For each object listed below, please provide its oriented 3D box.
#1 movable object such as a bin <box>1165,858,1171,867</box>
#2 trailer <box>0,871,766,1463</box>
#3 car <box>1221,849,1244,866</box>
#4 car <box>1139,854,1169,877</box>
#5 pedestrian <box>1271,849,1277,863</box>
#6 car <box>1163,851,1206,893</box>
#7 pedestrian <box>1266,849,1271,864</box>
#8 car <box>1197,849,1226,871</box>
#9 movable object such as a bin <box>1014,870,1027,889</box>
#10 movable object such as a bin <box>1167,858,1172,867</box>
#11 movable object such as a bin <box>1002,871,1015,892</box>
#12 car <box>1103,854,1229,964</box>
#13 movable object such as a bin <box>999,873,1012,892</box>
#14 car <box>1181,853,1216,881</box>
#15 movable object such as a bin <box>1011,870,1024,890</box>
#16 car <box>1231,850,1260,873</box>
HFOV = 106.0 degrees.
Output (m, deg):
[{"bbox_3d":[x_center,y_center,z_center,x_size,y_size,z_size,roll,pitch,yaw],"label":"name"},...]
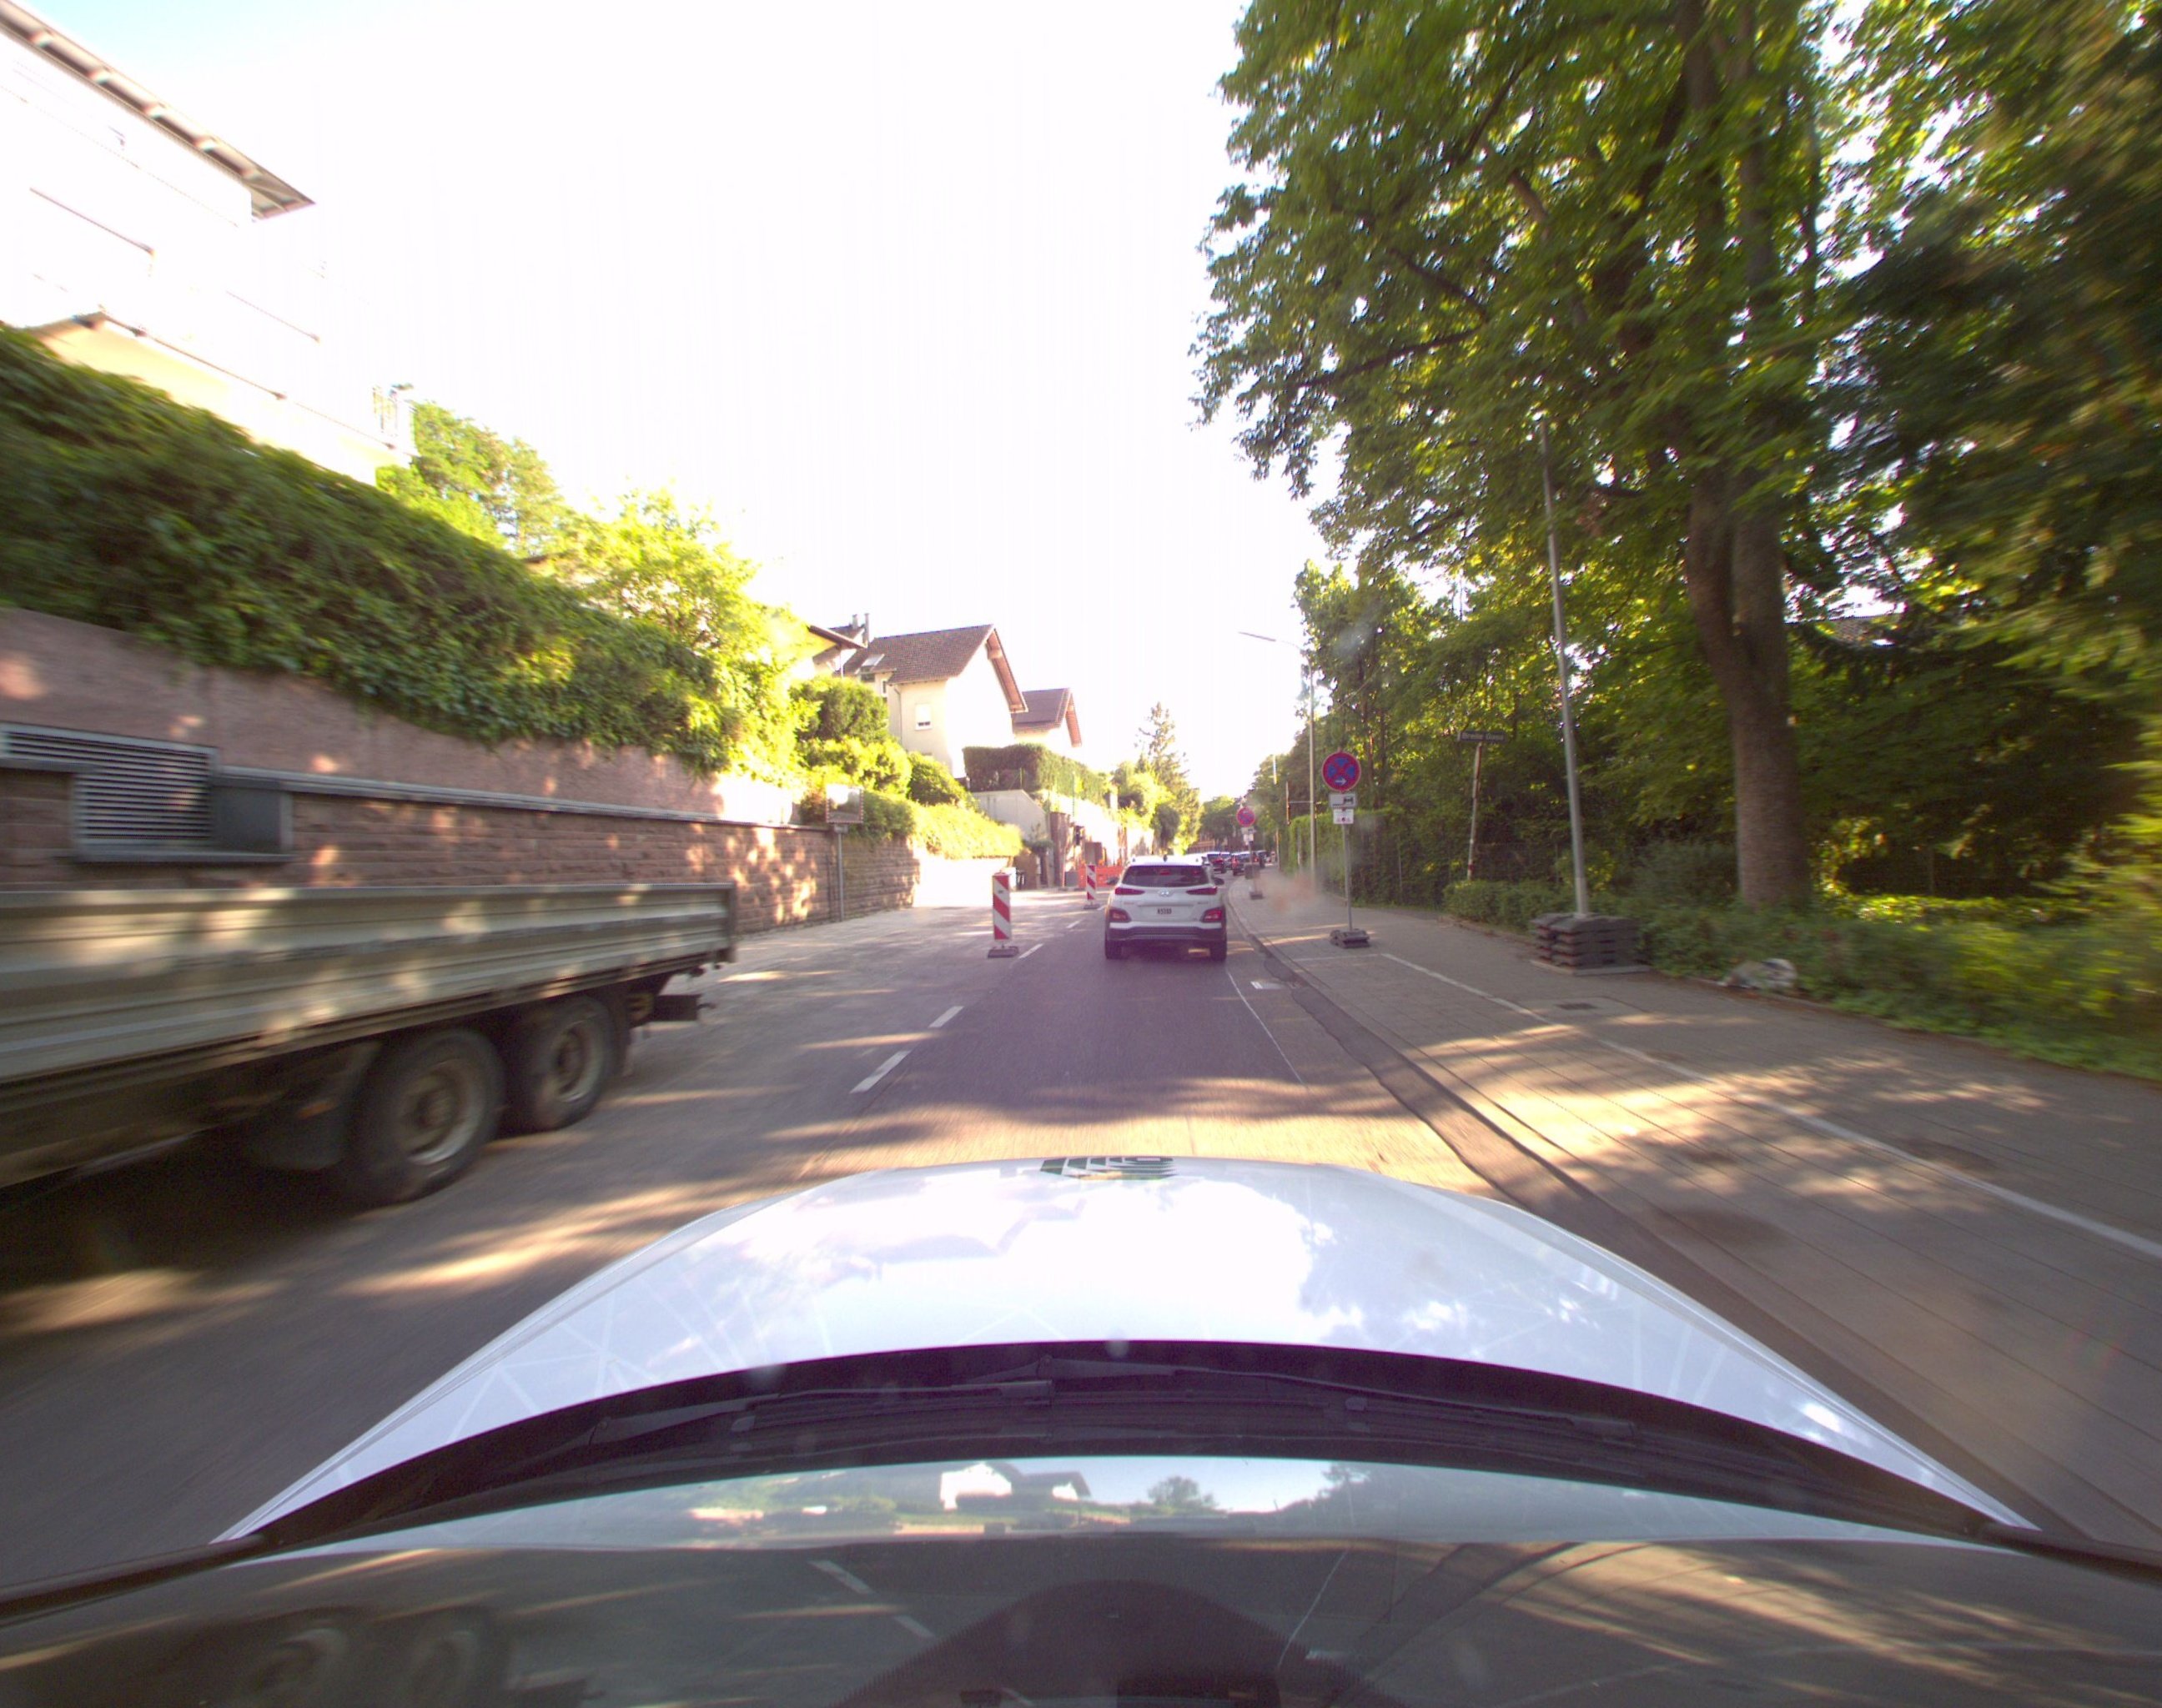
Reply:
[{"bbox_3d":[9.205,0.922,85.924,0.569,0.985,0.440,-1,-1,11],"label":"movable object such as a bin"},{"bbox_3d":[-4.147,0.901,3.420,2.630,1.489,7.122,-1,0,2],"label":"trailer"},{"bbox_3d":[13.996,0.343,75.230,1.681,1.447,3.897,-2,0,15],"label":"car"},{"bbox_3d":[5.021,0.778,55.804,1.616,1.422,3.574,-3,-1,11],"label":"car"},{"bbox_3d":[21.927,0.270,92.490,0.499,1.569,0.505,-5,-1,13],"label":"pedestrian"},{"bbox_3d":[4.251,0.689,33.107,1.503,1.533,3.557,-3,0,9],"label":"car"},{"bbox_3d":[21.382,0.301,92.819,0.499,1.606,0.493,-5,-1,13],"label":"pedestrian"},{"bbox_3d":[9.791,0.430,60.912,1.681,1.533,3.897,-2,0,14],"label":"car"},{"bbox_3d":[-2.821,1.187,37.730,0.453,0.884,0.502,-1,0,12],"label":"movable object such as a bin"},{"bbox_3d":[9.456,0.862,86.955,0.486,0.964,0.585,-1,0,11],"label":"movable object such as a bin"},{"bbox_3d":[-3.189,1.213,35.855,0.453,0.884,0.502,-1,0,12],"label":"movable object such as a bin"},{"bbox_3d":[1.491,0.777,13.524,1.762,1.542,4.009,0,0,8],"label":"car"},{"bbox_3d":[-3.290,1.240,35.394,0.451,0.834,0.393,-2,0,11],"label":"movable object such as a bin"},{"bbox_3d":[6.620,0.688,45.721,1.559,1.477,3.561,-1,0,14],"label":"car"},{"bbox_3d":[-2.900,1.204,37.187,0.453,0.884,0.502,-1,0,12],"label":"movable object such as a bin"},{"bbox_3d":[11.166,0.484,55.219,1.782,1.441,4.014,-2,0,13],"label":"car"}]
